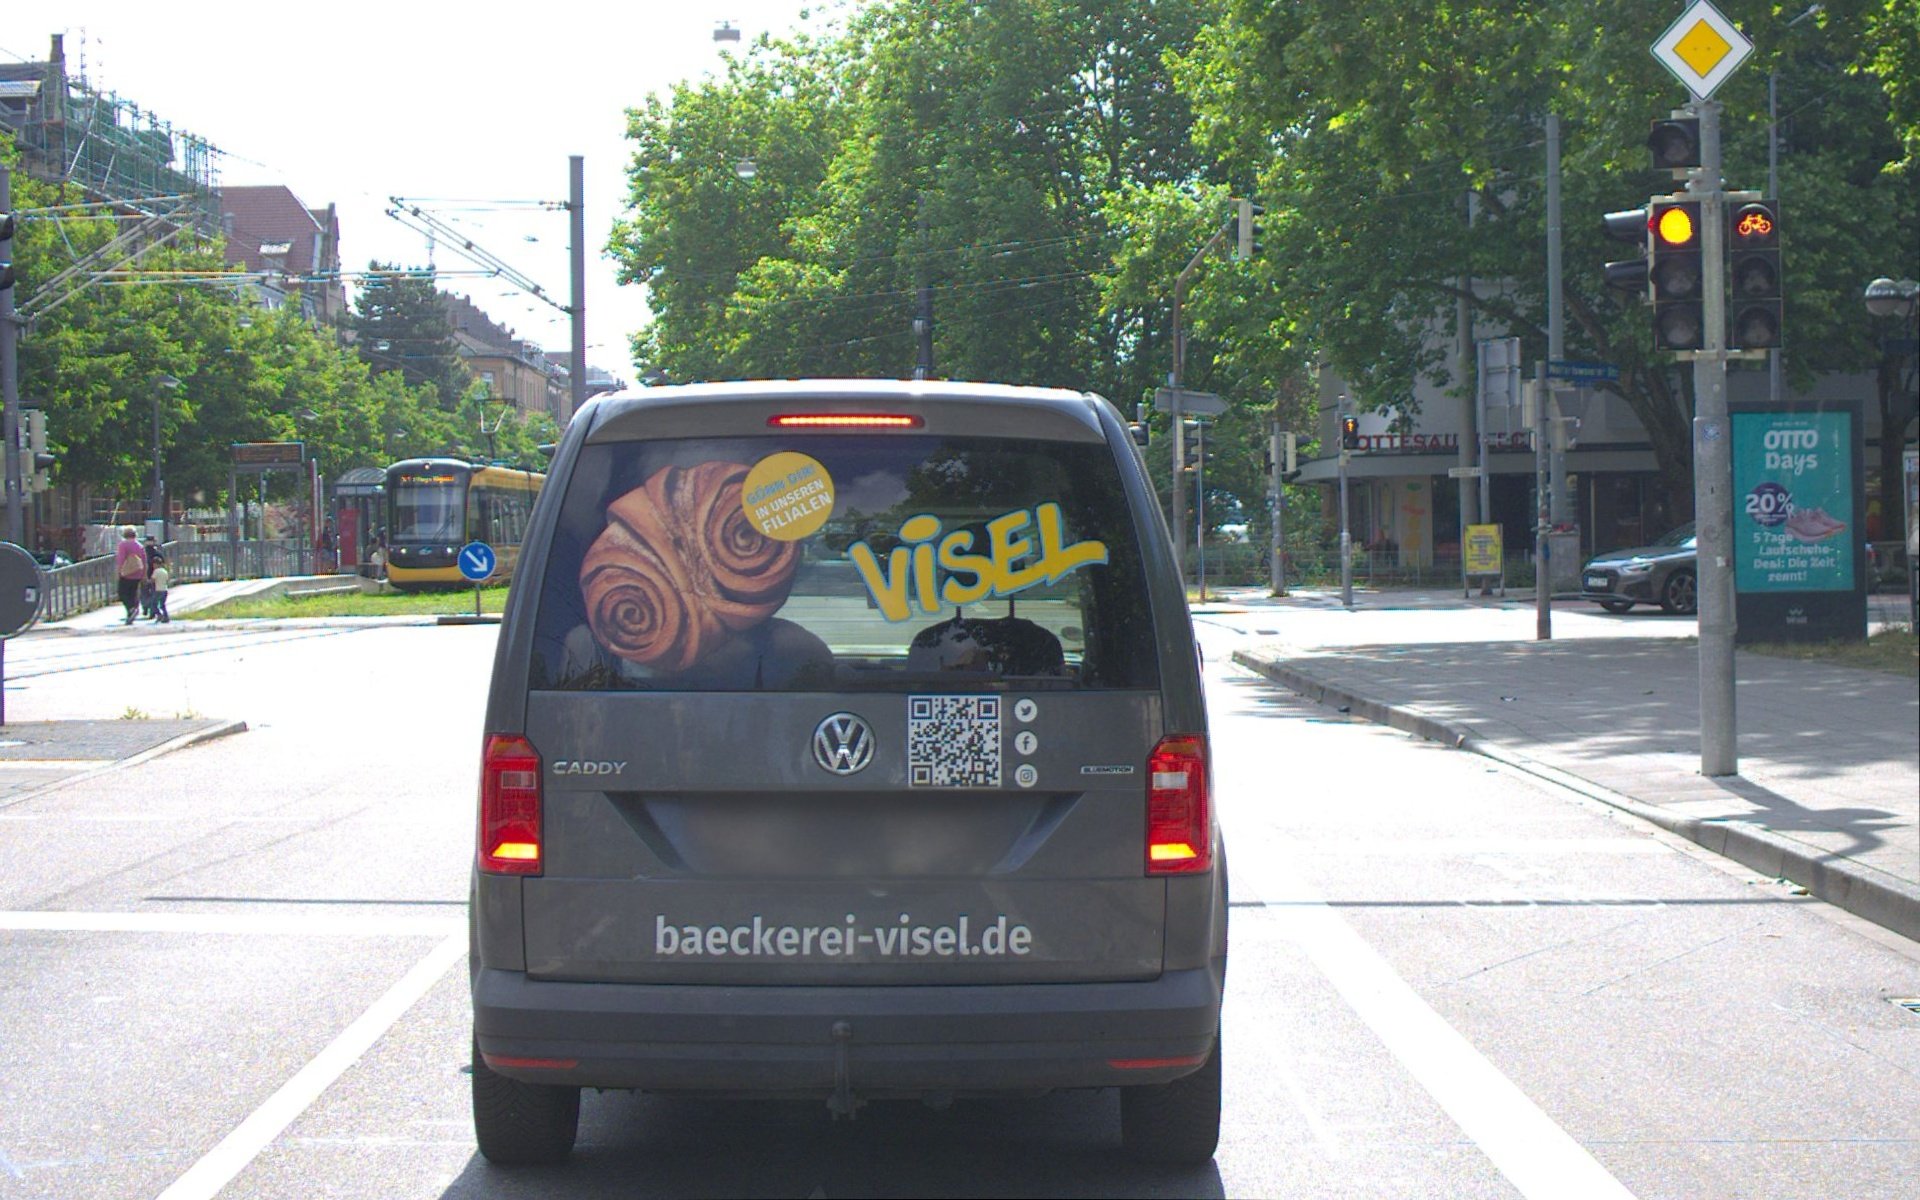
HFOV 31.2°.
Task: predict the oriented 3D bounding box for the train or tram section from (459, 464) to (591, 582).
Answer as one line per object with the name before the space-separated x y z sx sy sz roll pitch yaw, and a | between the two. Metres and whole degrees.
train or tram section | -13.162 -2.361 105.009 2.240 3.320 14.014 -1 1 0

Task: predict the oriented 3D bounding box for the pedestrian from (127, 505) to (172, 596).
pedestrian | -15.105 -0.932 64.073 0.659 1.679 0.655 -1 1 0

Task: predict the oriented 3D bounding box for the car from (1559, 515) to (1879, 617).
car | 11.291 -0.519 51.105 4.480 1.385 1.707 -2 1 -24

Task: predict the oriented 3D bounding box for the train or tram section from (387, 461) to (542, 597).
train or tram section | -13.048 -1.908 91.482 2.240 3.320 12.972 -1 1 0

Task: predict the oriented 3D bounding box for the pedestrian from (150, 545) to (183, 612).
pedestrian | -13.833 -0.377 59.942 0.463 1.140 0.435 -1 1 0

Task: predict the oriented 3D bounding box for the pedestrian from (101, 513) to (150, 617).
pedestrian | -14.505 -0.615 59.767 0.659 1.778 0.660 -1 1 0

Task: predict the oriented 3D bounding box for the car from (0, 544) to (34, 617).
car | -27.905 -0.555 97.895 1.993 2.007 4.000 -1 1 0

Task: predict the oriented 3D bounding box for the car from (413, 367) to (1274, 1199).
car | -0.250 0.388 8.772 1.750 1.802 3.475 0 1 0
